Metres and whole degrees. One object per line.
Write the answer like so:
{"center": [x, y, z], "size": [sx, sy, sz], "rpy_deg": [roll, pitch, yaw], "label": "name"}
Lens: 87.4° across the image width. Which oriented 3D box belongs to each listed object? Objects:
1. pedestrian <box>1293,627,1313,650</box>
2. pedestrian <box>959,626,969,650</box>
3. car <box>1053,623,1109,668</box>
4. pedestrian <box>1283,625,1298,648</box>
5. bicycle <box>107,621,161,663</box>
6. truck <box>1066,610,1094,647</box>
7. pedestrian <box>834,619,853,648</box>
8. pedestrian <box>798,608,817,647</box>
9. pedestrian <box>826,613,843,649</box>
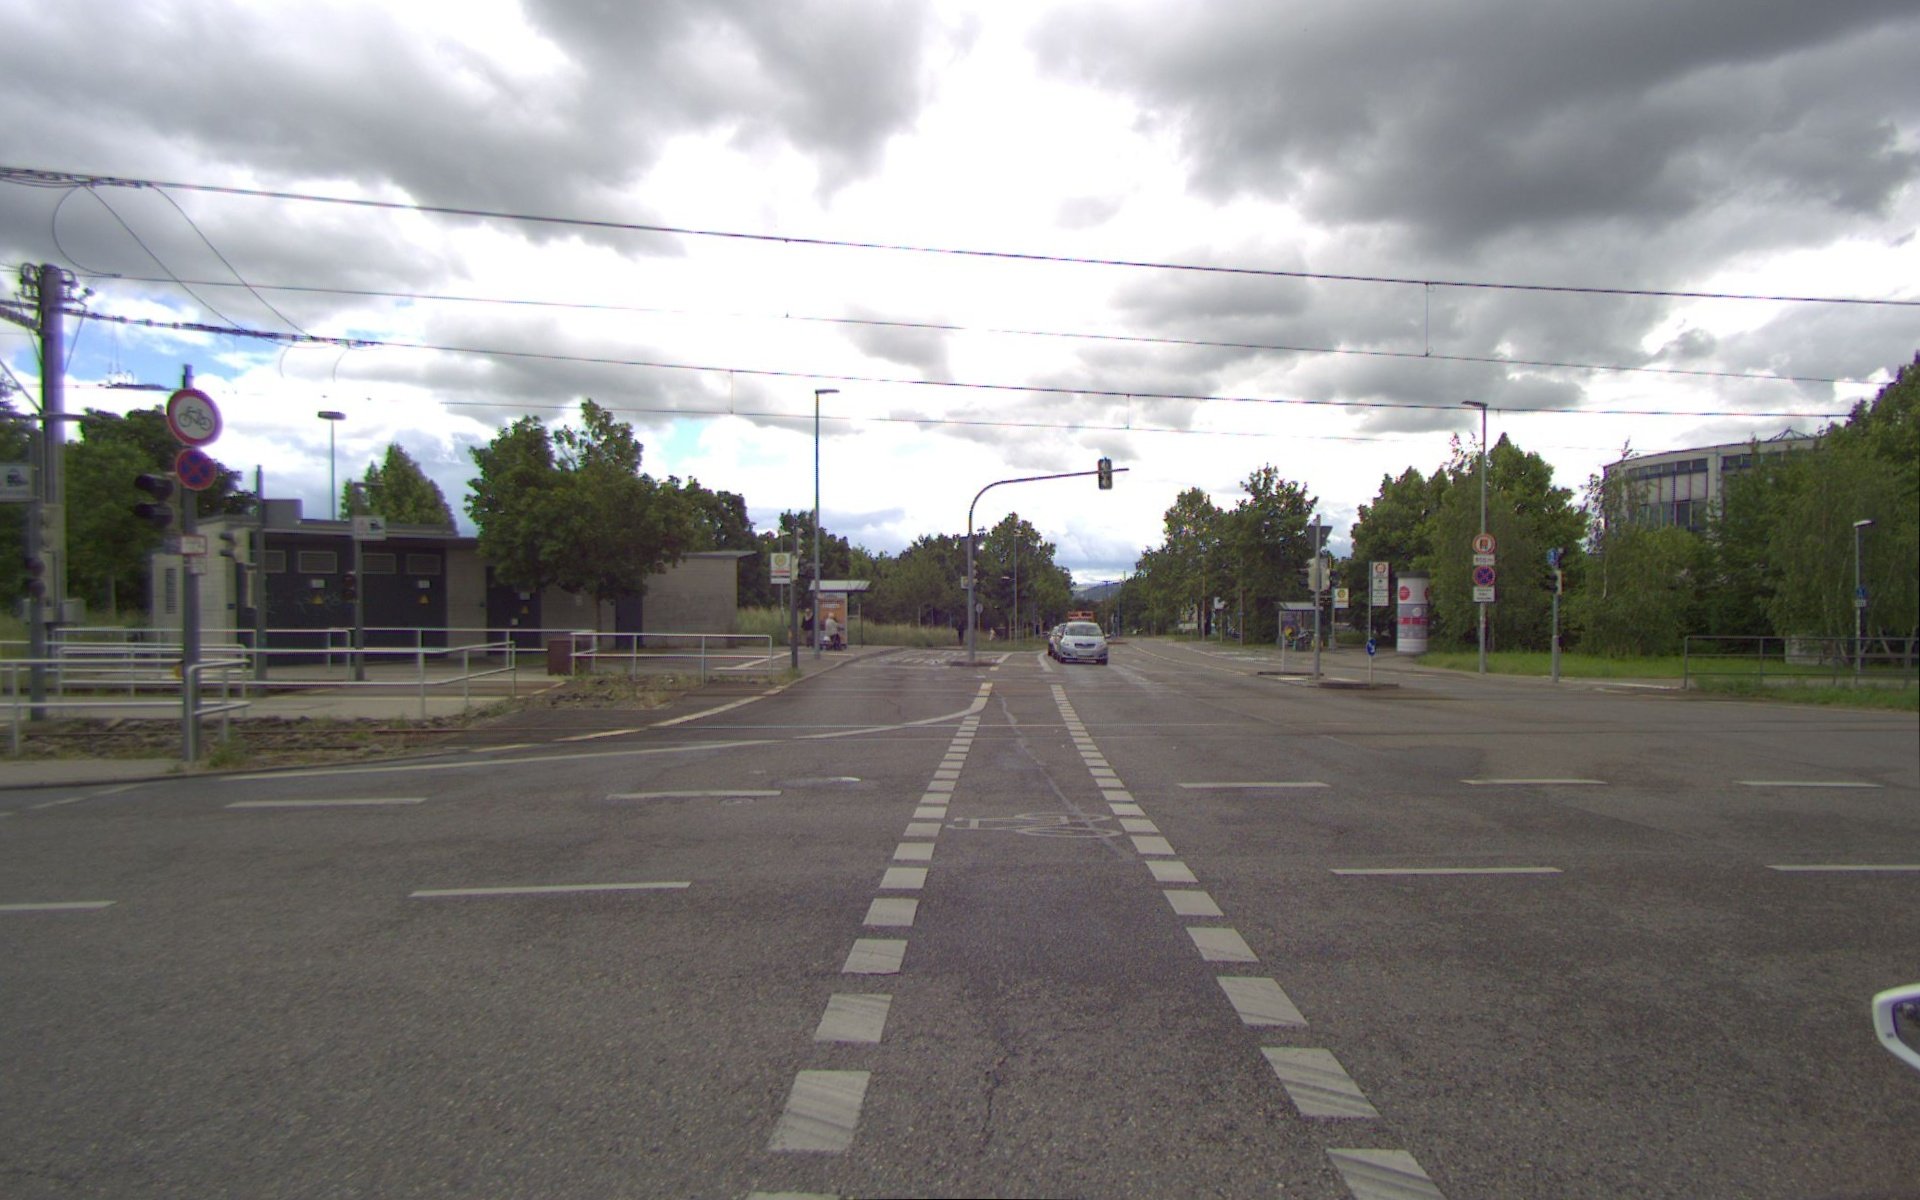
{"center": [19.554, 2.179, 57.289], "size": [0.768, 1.269, 0.765], "rpy_deg": [1, -1, -34], "label": "pedestrian"}
{"center": [0.327, 2.942, 77.630], "size": [0.708, 1.860, 0.678], "rpy_deg": [-1, -1, 8], "label": "pedestrian"}
{"center": [4.459, 1.656, 37.503], "size": [1.796, 1.556, 4.222], "rpy_deg": [0, -1, 3], "label": "car"}
{"center": [19.315, 2.143, 58.722], "size": [0.715, 1.333, 0.589], "rpy_deg": [0, -1, 10], "label": "pedestrian"}
{"center": [-23.374, 1.170, 28.406], "size": [2.220, 1.120, 0.676], "rpy_deg": [0, -1, 37], "label": "bicycle"}
{"center": [12.242, 2.882, 101.937], "size": [2.659, 3.533, 10.002], "rpy_deg": [0, -1, 8], "label": "truck"}
{"center": [-5.025, 1.423, 43.310], "size": [0.759, 1.243, 0.550], "rpy_deg": [0, -1, -1], "label": "pedestrian"}
{"center": [-6.808, 1.216, 44.709], "size": [0.541, 1.692, 0.636], "rpy_deg": [0, -1, 35], "label": "pedestrian"}
{"center": [-4.749, 1.174, 38.115], "size": [0.540, 1.381, 0.774], "rpy_deg": [0, -1, 0], "label": "pedestrian"}
